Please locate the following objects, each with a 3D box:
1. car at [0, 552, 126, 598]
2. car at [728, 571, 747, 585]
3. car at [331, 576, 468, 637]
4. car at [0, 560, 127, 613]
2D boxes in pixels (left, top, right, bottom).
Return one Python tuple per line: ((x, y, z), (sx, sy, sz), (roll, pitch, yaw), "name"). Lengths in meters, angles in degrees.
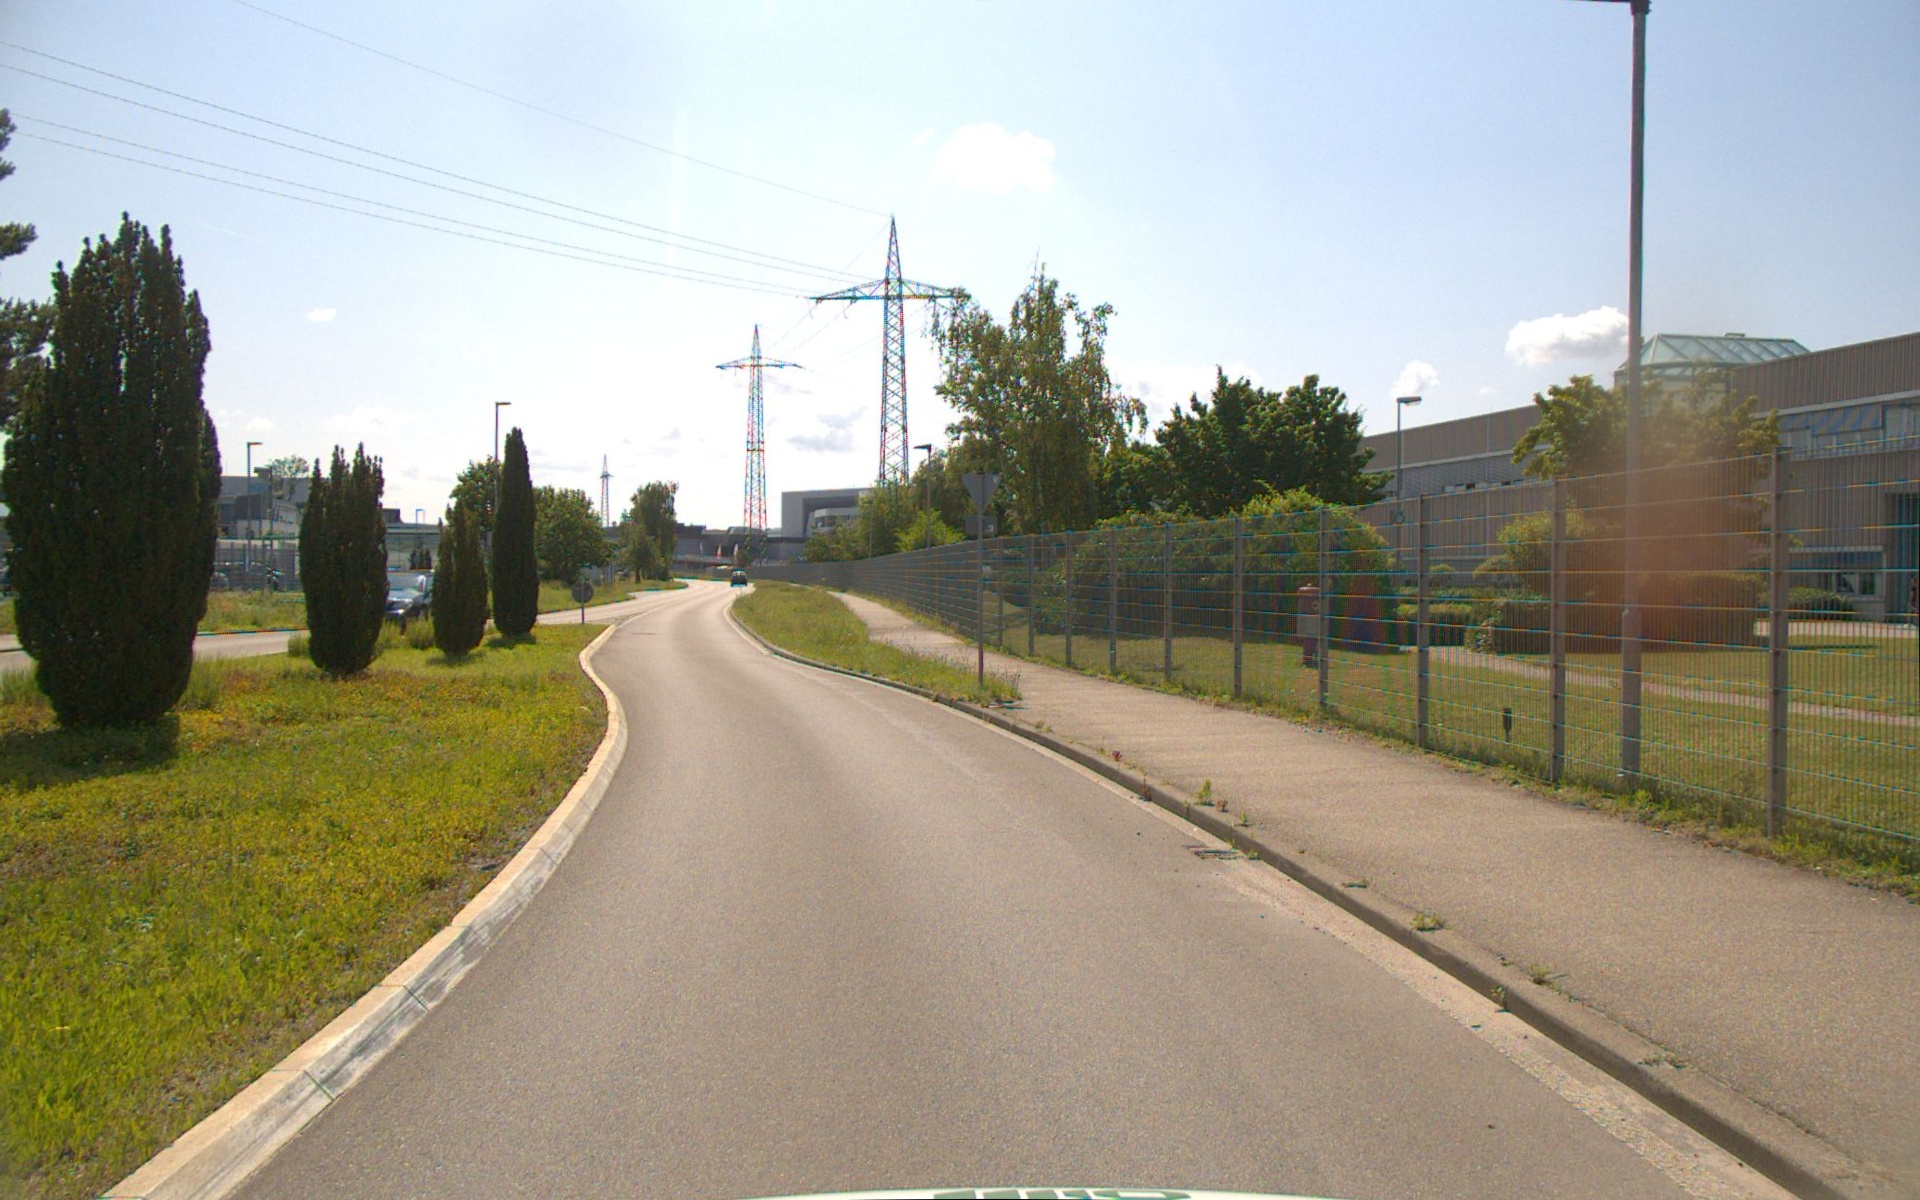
((-29.096, -0.801, 53.572), (3.529, 1.426, 1.779), (0, 1, -35), "car")
((-23.919, -2.333, 177.860), (1.975, 1.534, 3.992), (0, 0, -9), "car")
((-13.728, 0.127, 40.828), (1.861, 1.418, 4.864), (0, 1, -2), "car")
((-30.463, -0.429, 55.698), (4.070, 1.734, 1.698), (0, 0, -40), "car")
